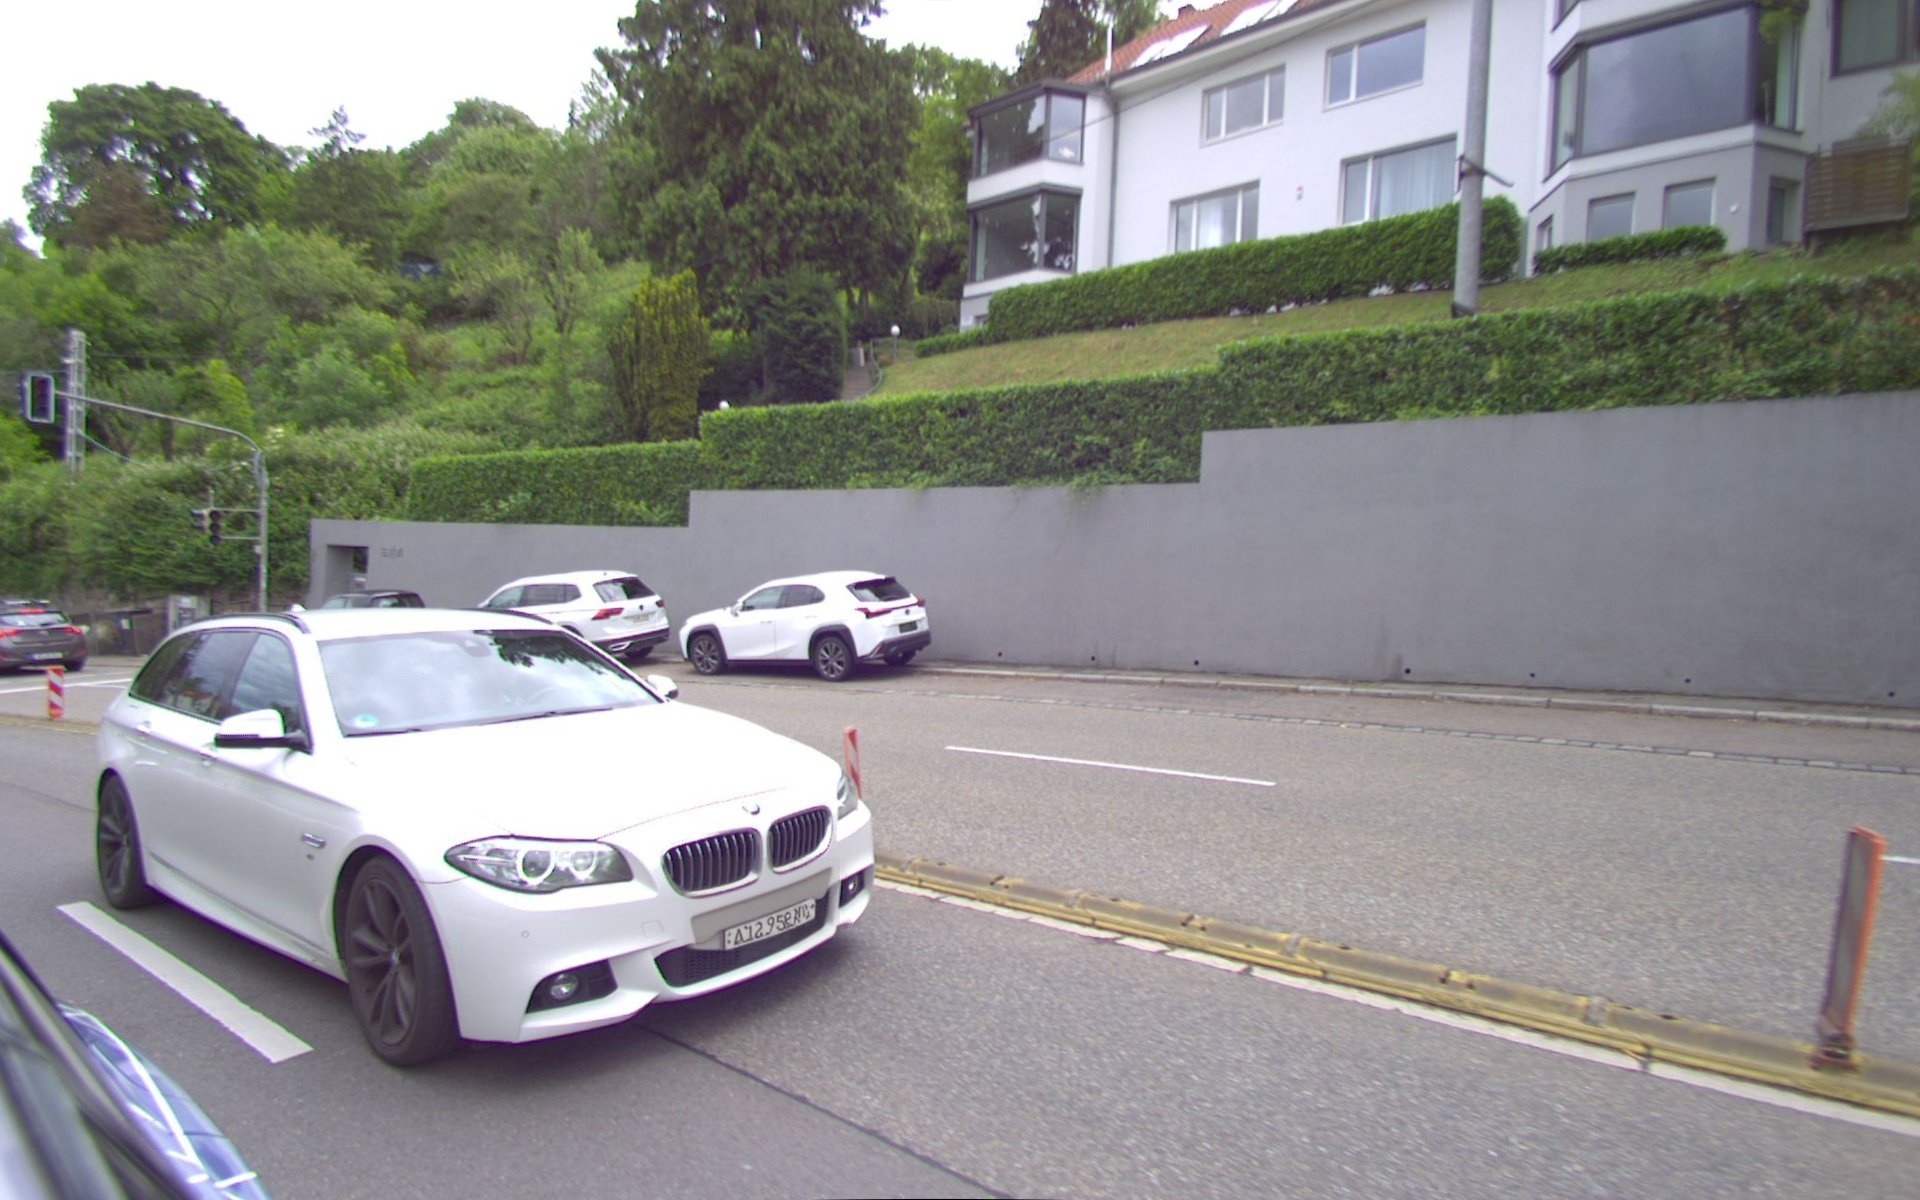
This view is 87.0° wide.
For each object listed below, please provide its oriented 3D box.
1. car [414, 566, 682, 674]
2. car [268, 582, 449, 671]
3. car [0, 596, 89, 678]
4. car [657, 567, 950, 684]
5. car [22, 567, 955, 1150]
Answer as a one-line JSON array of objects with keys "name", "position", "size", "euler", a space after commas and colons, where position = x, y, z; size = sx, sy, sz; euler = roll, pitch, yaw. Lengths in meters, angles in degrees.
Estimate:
[{"name": "car", "position": [-7.646, 0.329, 18.724], "size": [4.734, 1.744, 1.849], "euler": [-1, 3, 26]}, {"name": "car", "position": [-12.206, 0.533, 20.574], "size": [2.939, 1.584, 1.704], "euler": [-2, 3, 24]}, {"name": "car", "position": [-20.885, 0.746, 21.673], "size": [4.179, 1.609, 1.704], "euler": [0, 1, 23]}, {"name": "car", "position": [-2.530, 0.331, 15.960], "size": [4.461, 1.584, 1.819], "euler": [0, 2, 32]}, {"name": "car", "position": [-2.532, 0.644, 4.780], "size": [4.868, 1.477, 1.832], "euler": [0, 2, 36]}]
